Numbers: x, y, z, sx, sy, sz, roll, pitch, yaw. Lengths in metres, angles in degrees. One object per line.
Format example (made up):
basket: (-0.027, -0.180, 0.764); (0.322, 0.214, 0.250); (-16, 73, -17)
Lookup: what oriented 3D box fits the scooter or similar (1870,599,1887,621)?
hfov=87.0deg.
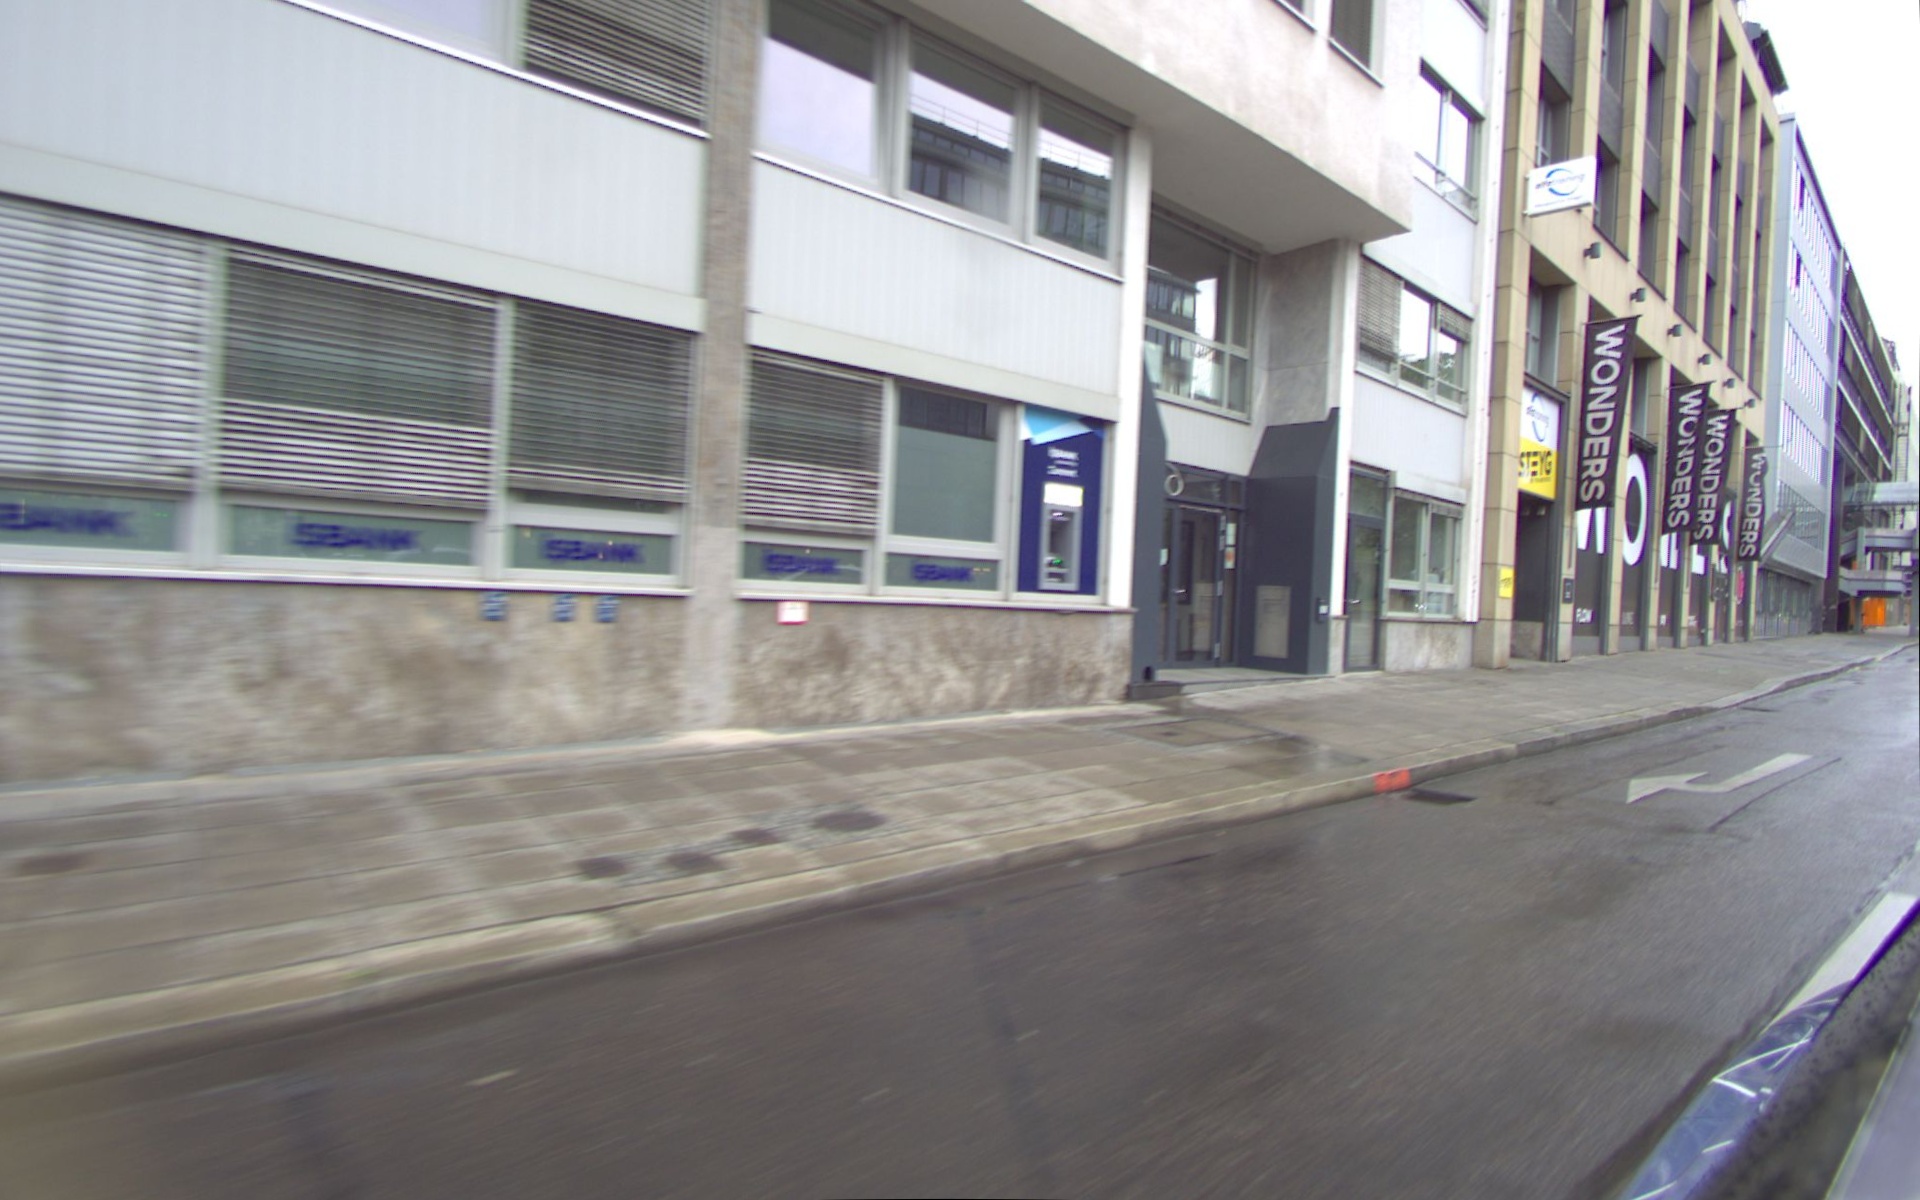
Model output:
scooter or similar: (56.354, 0.602, 62.122); (0.468, 1.289, 1.294); (1, 0, 30)
